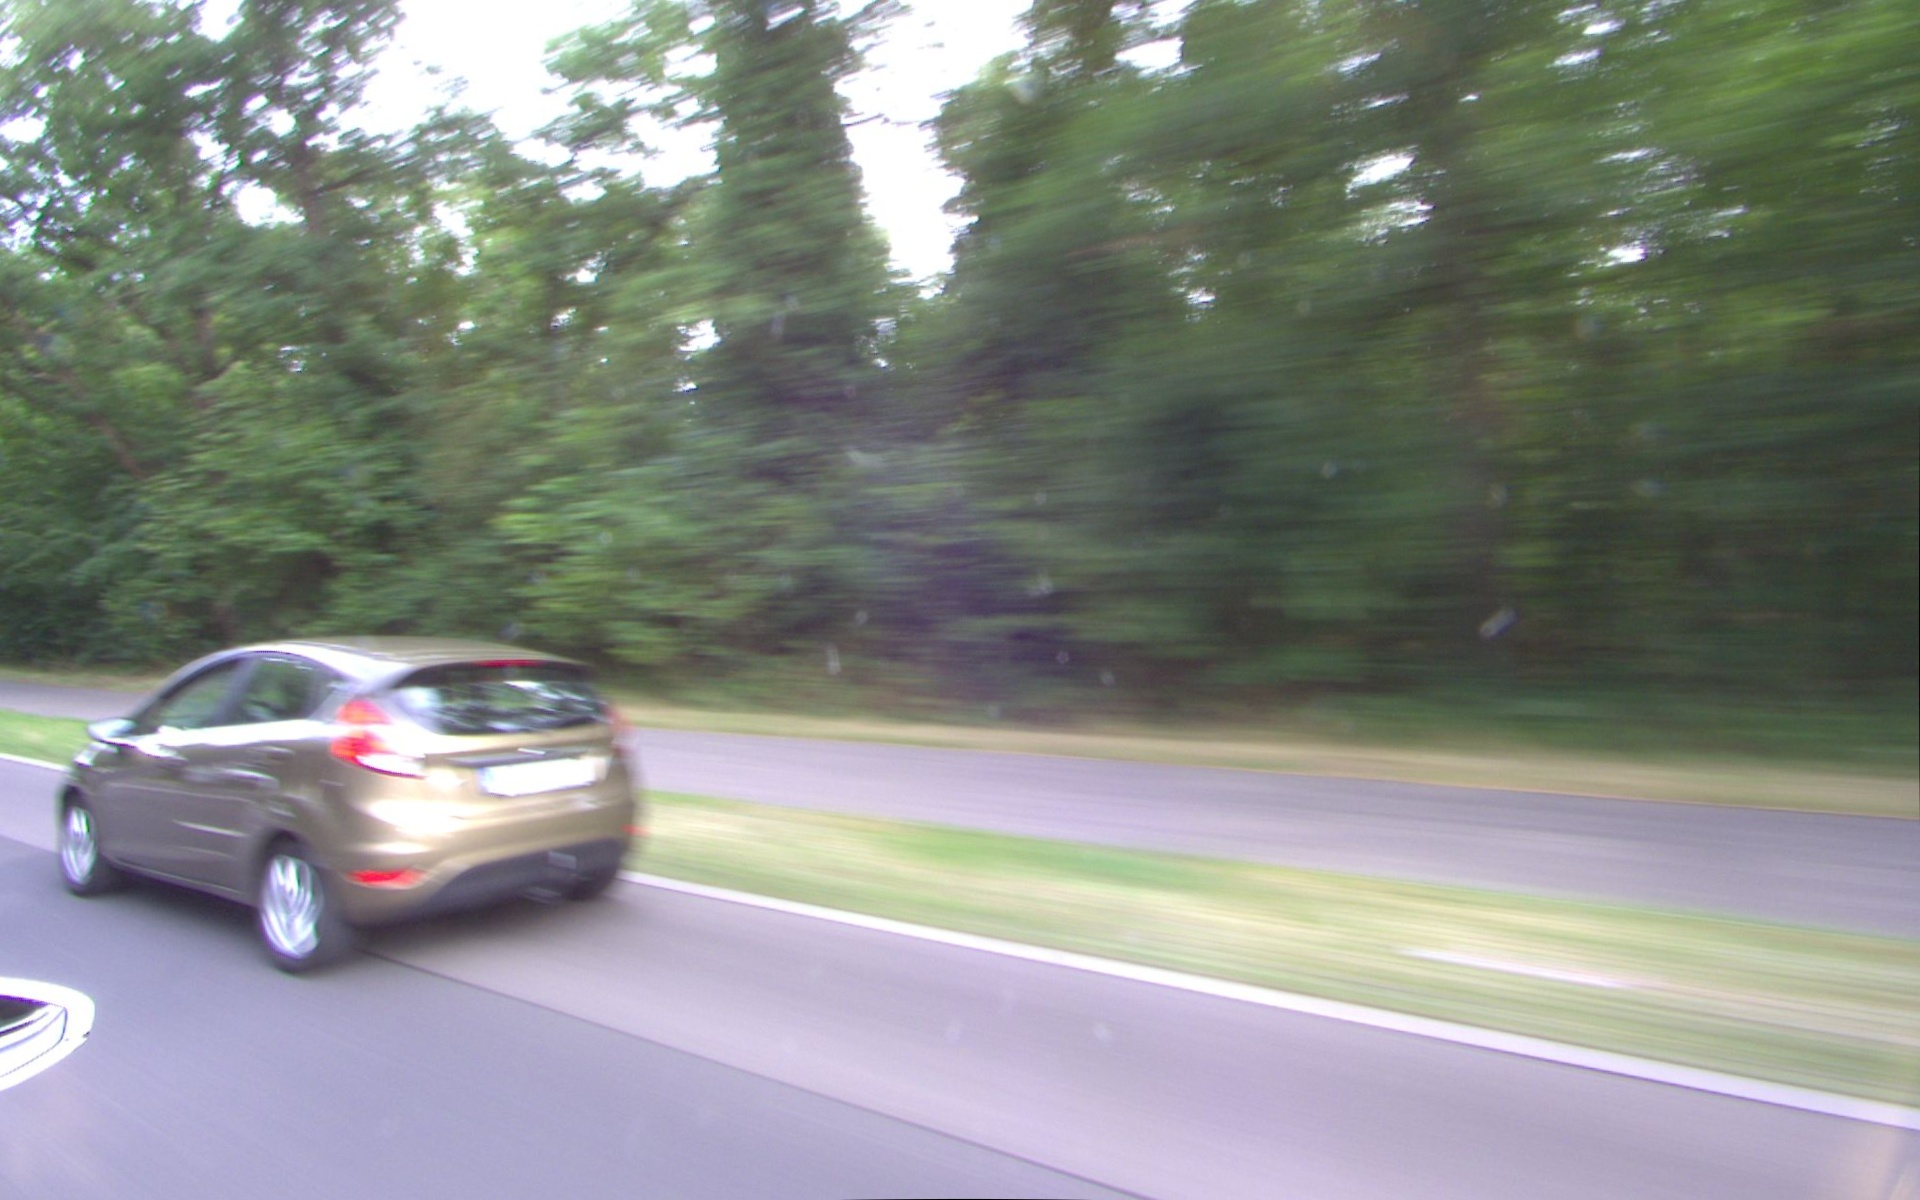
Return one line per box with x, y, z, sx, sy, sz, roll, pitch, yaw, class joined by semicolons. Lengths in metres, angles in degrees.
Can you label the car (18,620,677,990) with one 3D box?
-3.593;0.895;5.682;3.944;1.437;1.633;-2;-3;33;car
